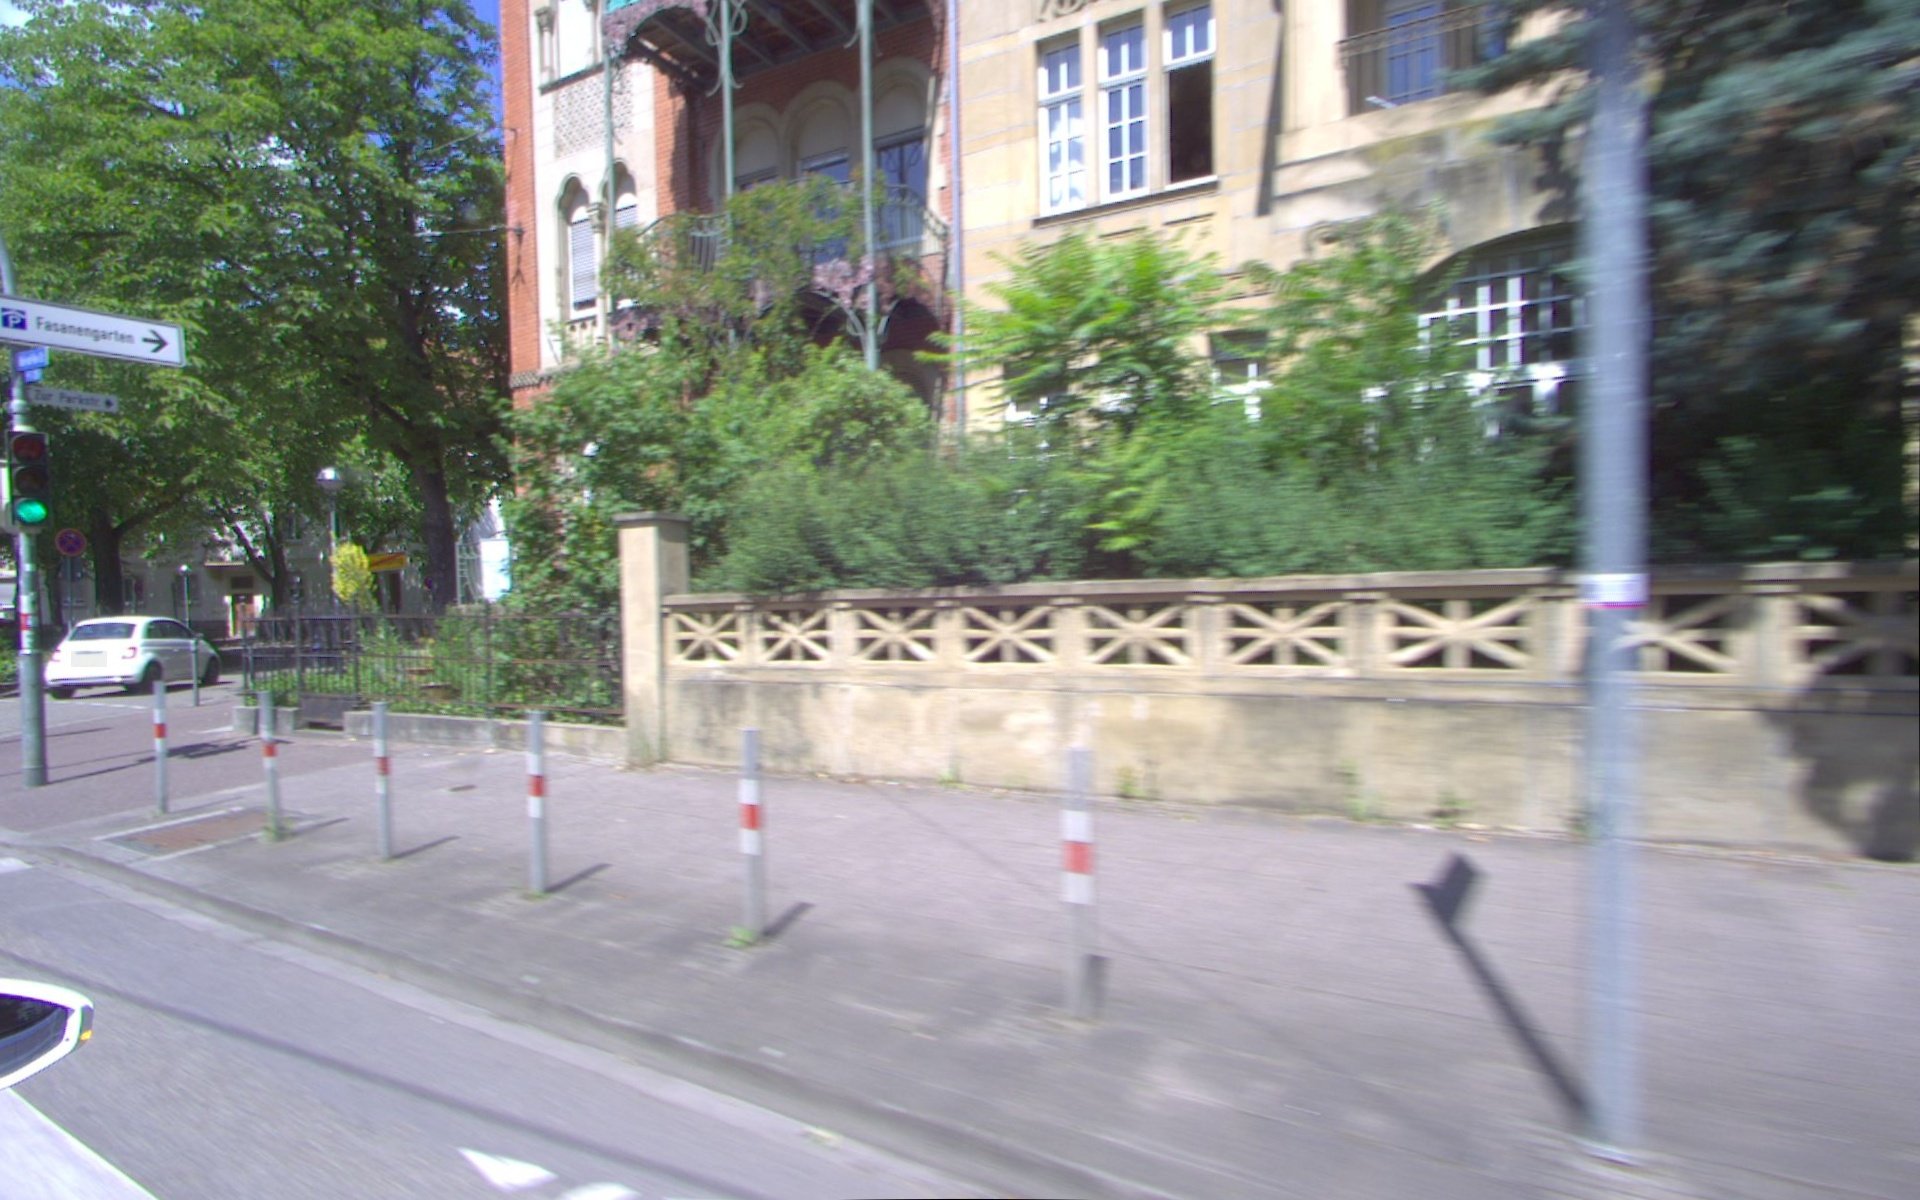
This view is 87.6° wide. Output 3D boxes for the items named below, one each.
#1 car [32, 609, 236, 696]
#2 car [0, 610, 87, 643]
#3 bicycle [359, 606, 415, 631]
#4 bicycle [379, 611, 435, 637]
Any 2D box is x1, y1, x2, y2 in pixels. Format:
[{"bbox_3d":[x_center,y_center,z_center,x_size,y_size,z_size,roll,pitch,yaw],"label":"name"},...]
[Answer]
[{"bbox_3d":[-16.420,0.967,20.155,1.659,1.504,3.679,-1,0,-13],"label":"car"},{"bbox_3d":[-41.083,1.166,43.677,4.255,1.346,1.791,-1,1,-4],"label":"car"},{"bbox_3d":[-25.932,0.815,45.361,0.549,1.072,2.206,0,1,30],"label":"bicycle"},{"bbox_3d":[-24.490,1.044,44.396,0.644,1.072,2.208,0,1,26],"label":"bicycle"}]
